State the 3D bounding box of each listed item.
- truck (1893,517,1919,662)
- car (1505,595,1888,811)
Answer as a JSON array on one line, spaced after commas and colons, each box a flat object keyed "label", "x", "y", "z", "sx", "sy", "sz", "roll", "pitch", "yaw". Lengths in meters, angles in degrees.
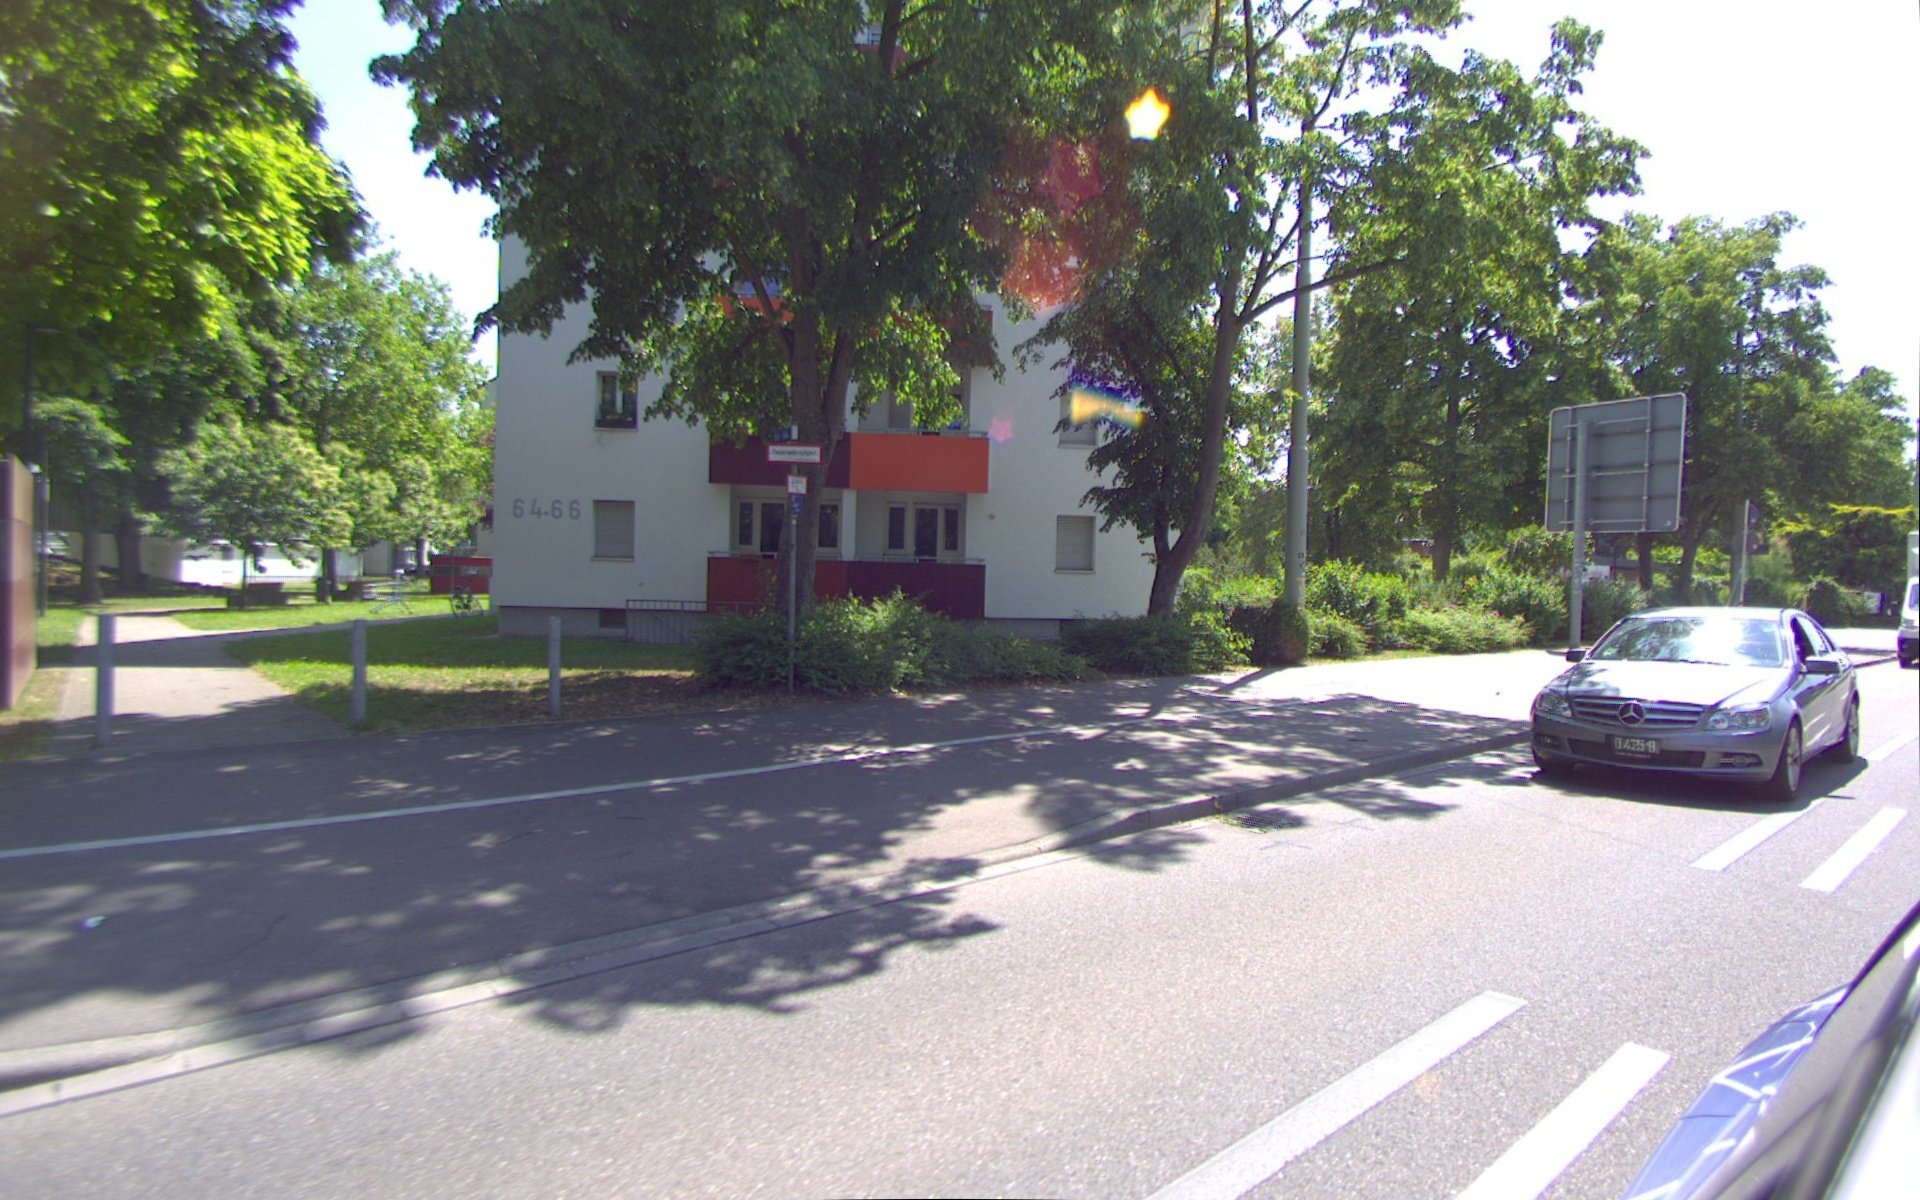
[{"label": "truck", "x": 25.622, "y": -0.244, "z": 25.174, "sx": 8.161, "sy": 3.319, "sz": 2.294, "roll": 0, "pitch": 1, "yaw": -39}, {"label": "car", "x": 6.658, "y": 0.707, "z": 9.011, "sx": 3.901, "sy": 1.478, "sz": 1.902, "roll": 0, "pitch": 0, "yaw": -40}]
